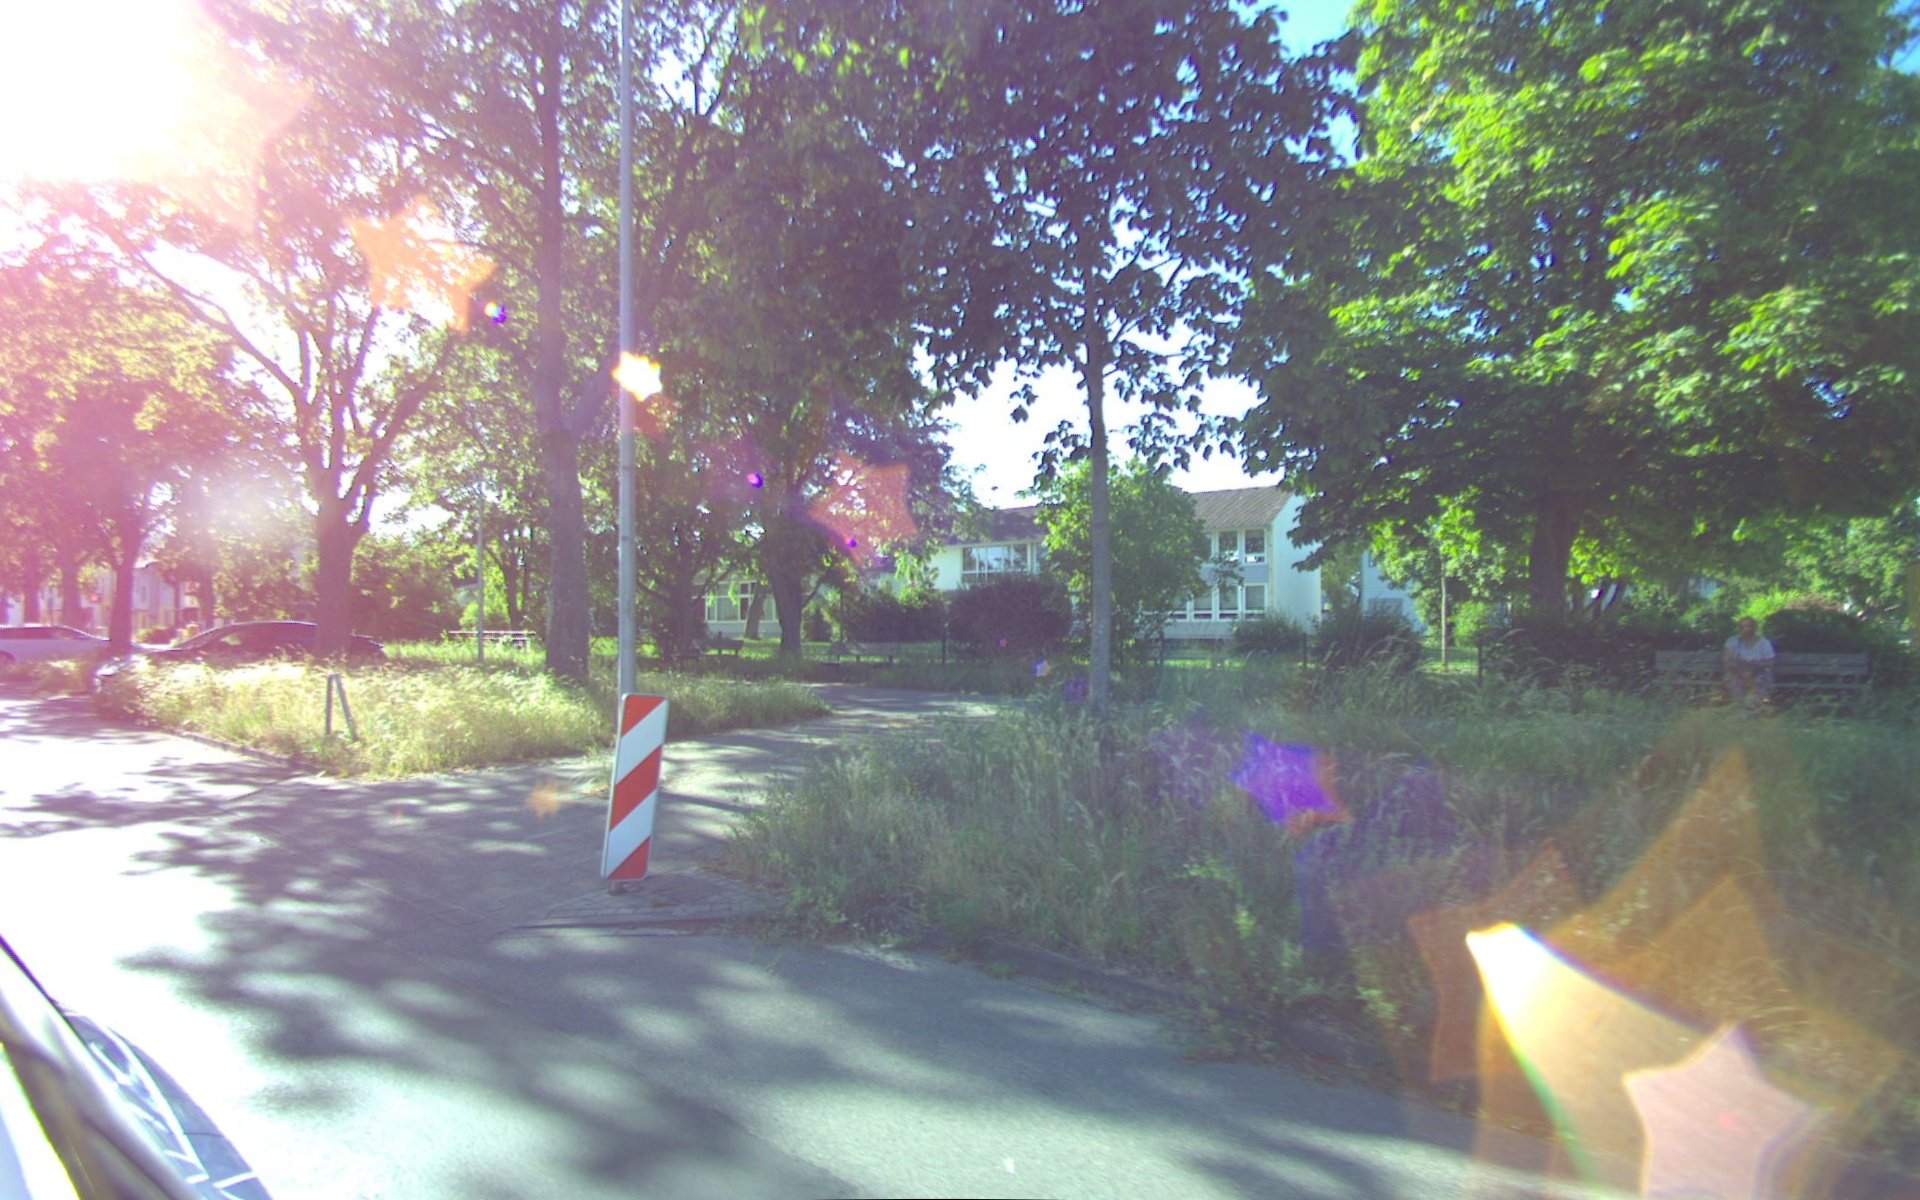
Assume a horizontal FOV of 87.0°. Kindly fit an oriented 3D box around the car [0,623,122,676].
[{"bbox_3d":[-29.787,1.562,32.492,1.999,1.573,4.151,-1,0,40],"label":"car"}]

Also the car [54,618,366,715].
[{"bbox_3d":[-14.412,1.184,19.678,1.999,1.573,4.557,-1,0,40],"label":"car"}]

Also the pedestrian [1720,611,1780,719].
[{"bbox_3d":[9.075,0.729,11.626,0.521,1.166,0.632,-1,2,39],"label":"pedestrian"}]
